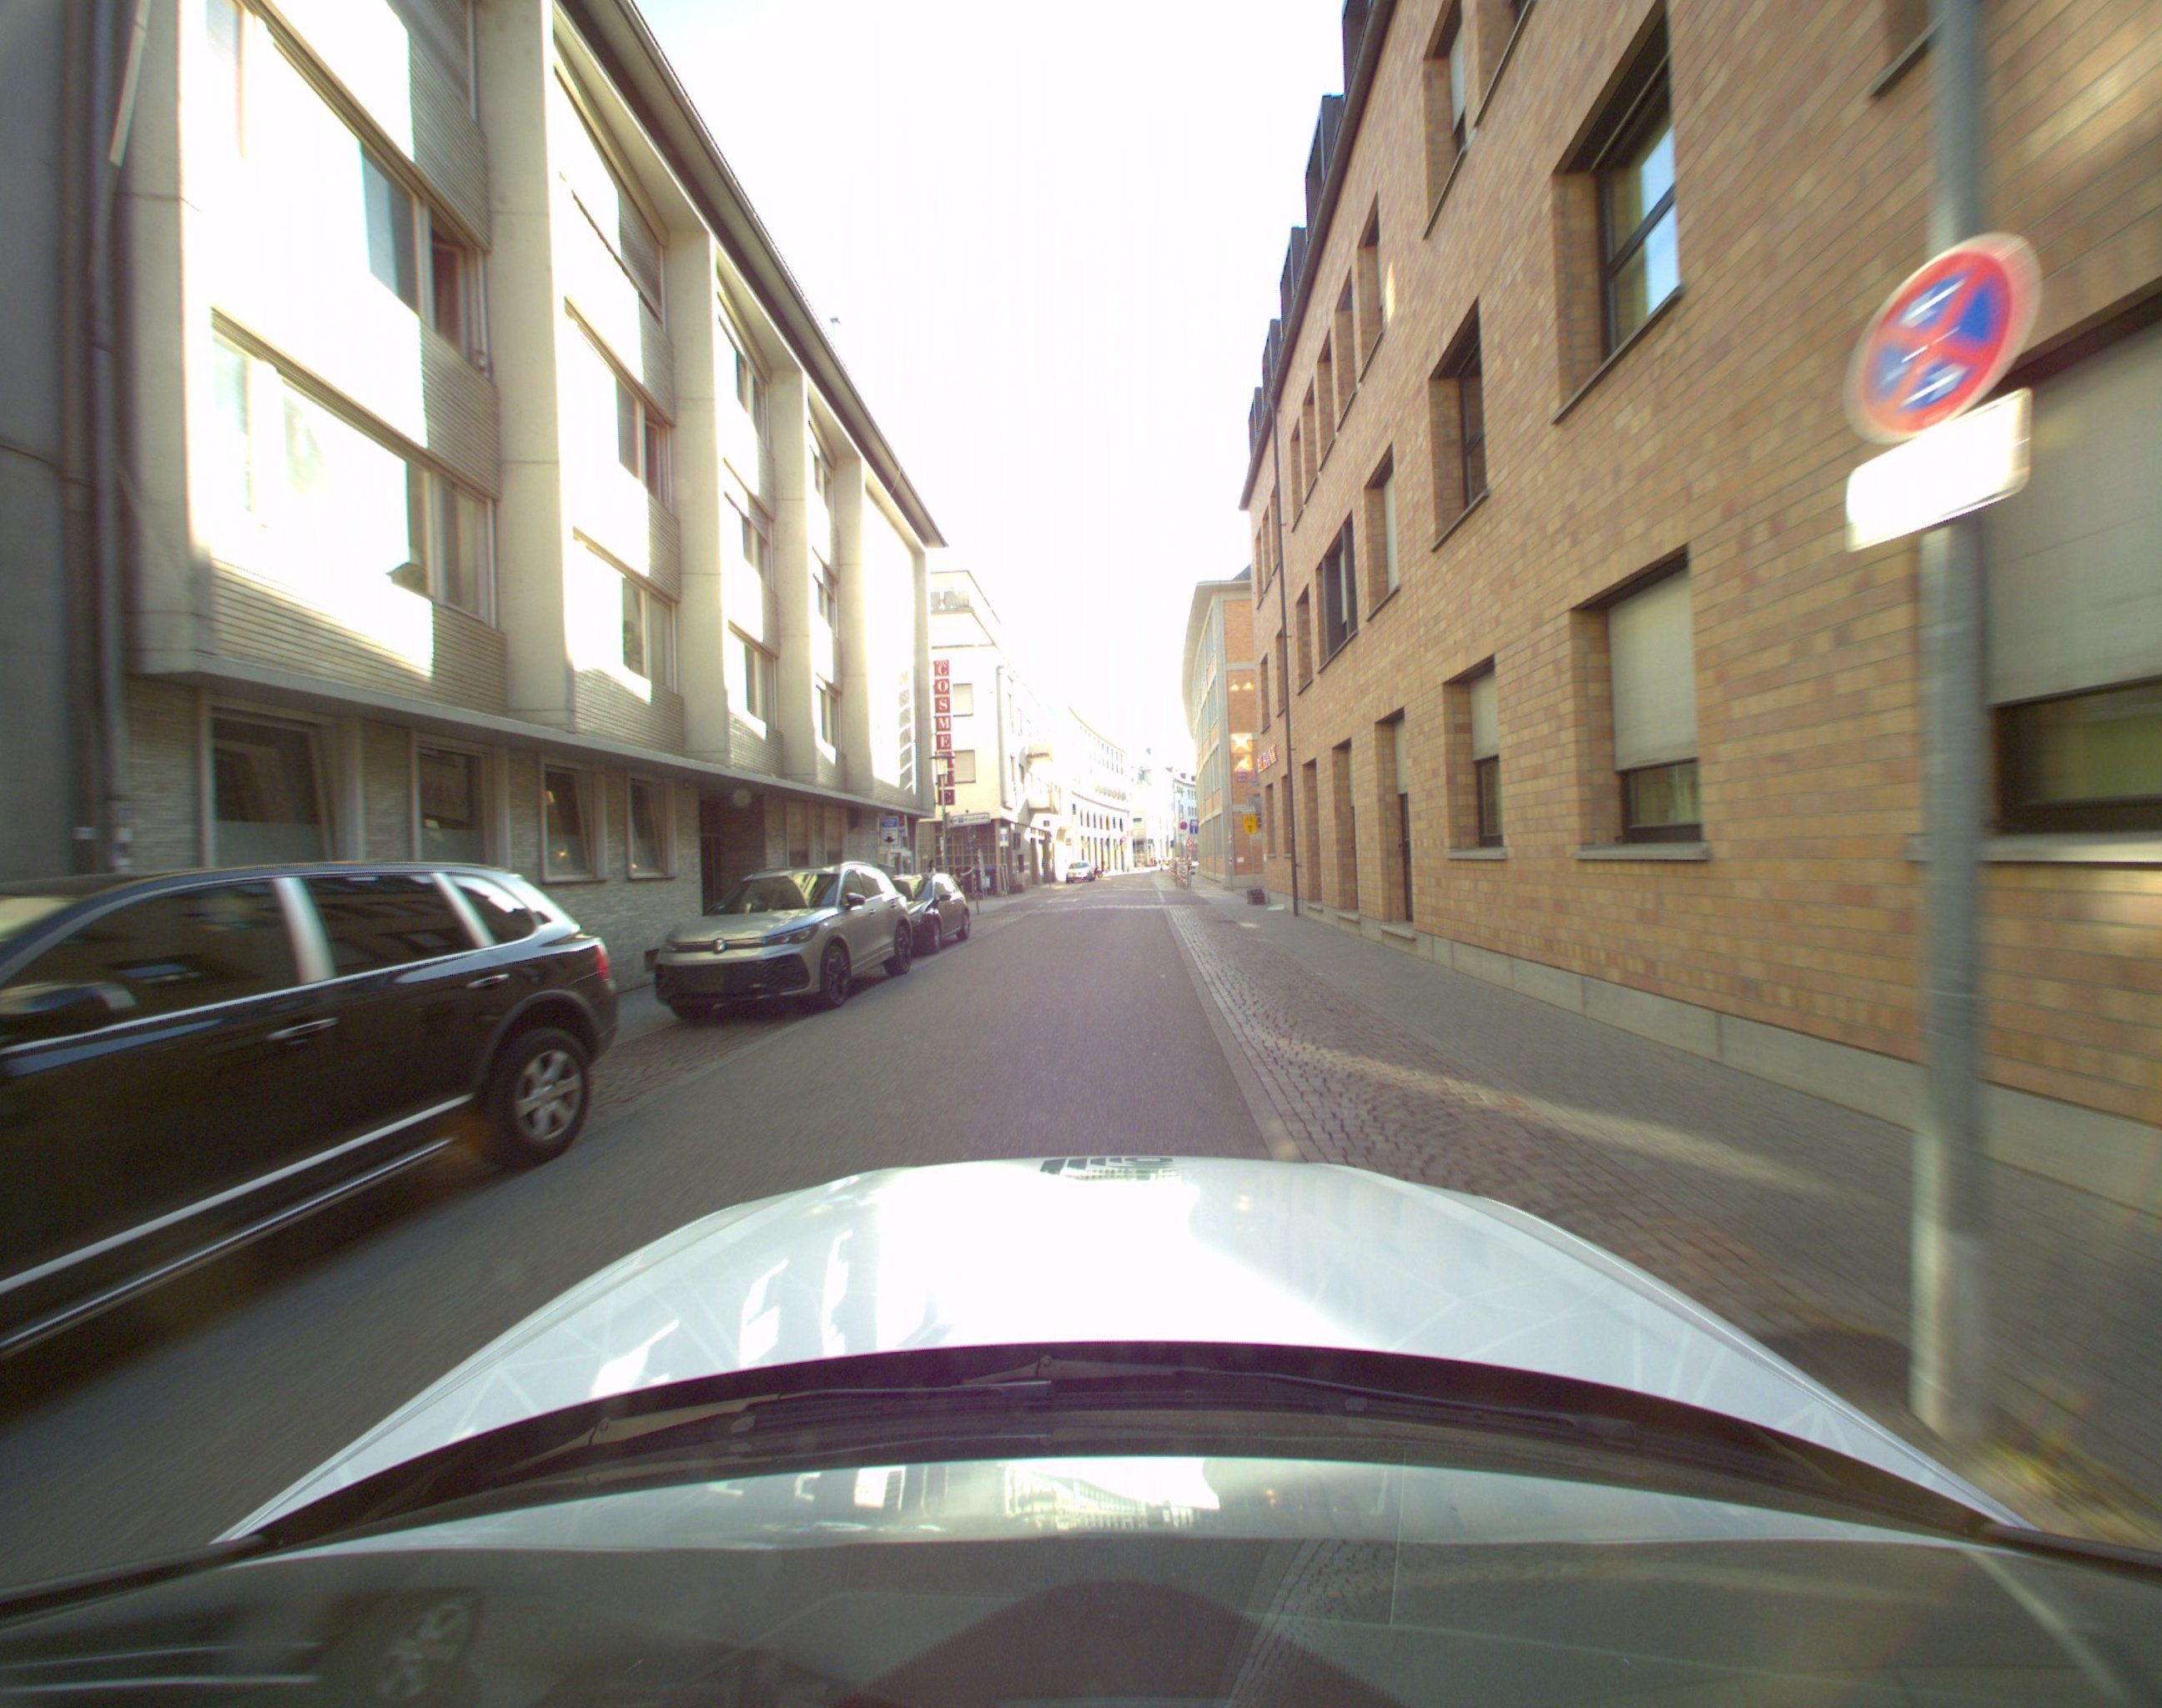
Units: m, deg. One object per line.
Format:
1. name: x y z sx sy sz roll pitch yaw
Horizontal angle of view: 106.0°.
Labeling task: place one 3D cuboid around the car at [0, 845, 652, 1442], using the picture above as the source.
1. car: -3.953 0.857 3.133 1.882 1.675 4.558 -3 0 4

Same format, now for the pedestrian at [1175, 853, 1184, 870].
1. pedestrian: 10.749 0.795 88.890 0.663 1.869 0.779 0 -1 -26

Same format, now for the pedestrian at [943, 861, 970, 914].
1. pedestrian: -3.943 1.053 25.784 0.650 1.625 0.452 -2 -1 -38

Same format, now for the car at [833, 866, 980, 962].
1. car: -3.255 1.068 16.004 1.641 1.460 4.003 -5 -1 4

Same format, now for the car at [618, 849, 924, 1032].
1. car: -3.542 0.866 10.357 1.882 1.742 4.395 -3 0 4

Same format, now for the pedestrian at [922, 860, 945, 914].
1. pedestrian: -4.824 1.081 26.623 0.443 1.738 0.556 -2 -1 27

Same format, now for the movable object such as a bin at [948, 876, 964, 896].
1. movable object such as a bin: -5.899 1.492 38.386 0.540 0.902 0.519 1 -2 -43

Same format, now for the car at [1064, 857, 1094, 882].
1. car: -0.086 1.037 55.818 1.728 1.606 3.537 -1 0 5

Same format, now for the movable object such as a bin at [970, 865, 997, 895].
1. movable object such as a bin: -4.658 1.234 39.067 0.939 1.420 0.874 1 -2 -43

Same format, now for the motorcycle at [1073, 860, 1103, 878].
1. motorcycle: 0.601 1.204 67.173 2.380 1.317 0.863 -4 0 3

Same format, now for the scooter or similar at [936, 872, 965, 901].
1. scooter or similar: -5.875 1.453 36.758 1.152 1.207 0.480 -4 -1 4

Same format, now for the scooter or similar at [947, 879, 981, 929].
1. scooter or similar: -2.967 1.268 20.631 0.414 1.198 1.112 -6 0 -25

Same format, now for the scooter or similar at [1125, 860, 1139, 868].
1. scooter or similar: 6.127 1.204 97.799 0.520 0.928 2.242 -2 0 34

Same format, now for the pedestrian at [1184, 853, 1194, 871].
1. pedestrian: 11.037 0.830 83.350 0.663 1.869 0.754 0 -1 -26

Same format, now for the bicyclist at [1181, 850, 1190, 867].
1. bicyclist: 14.725 0.704 115.090 1.082 2.389 0.744 -1 -1 17

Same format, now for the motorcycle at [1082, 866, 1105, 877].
1. motorcycle: 0.953 1.344 63.410 1.681 0.859 0.596 -1 -1 8

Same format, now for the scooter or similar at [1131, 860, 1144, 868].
1. scooter or similar: 7.035 1.219 101.818 0.520 0.928 2.242 -2 0 34

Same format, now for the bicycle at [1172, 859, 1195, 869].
1. bicycle: 14.479 1.457 115.149 3.064 1.354 0.705 -1 -1 17
